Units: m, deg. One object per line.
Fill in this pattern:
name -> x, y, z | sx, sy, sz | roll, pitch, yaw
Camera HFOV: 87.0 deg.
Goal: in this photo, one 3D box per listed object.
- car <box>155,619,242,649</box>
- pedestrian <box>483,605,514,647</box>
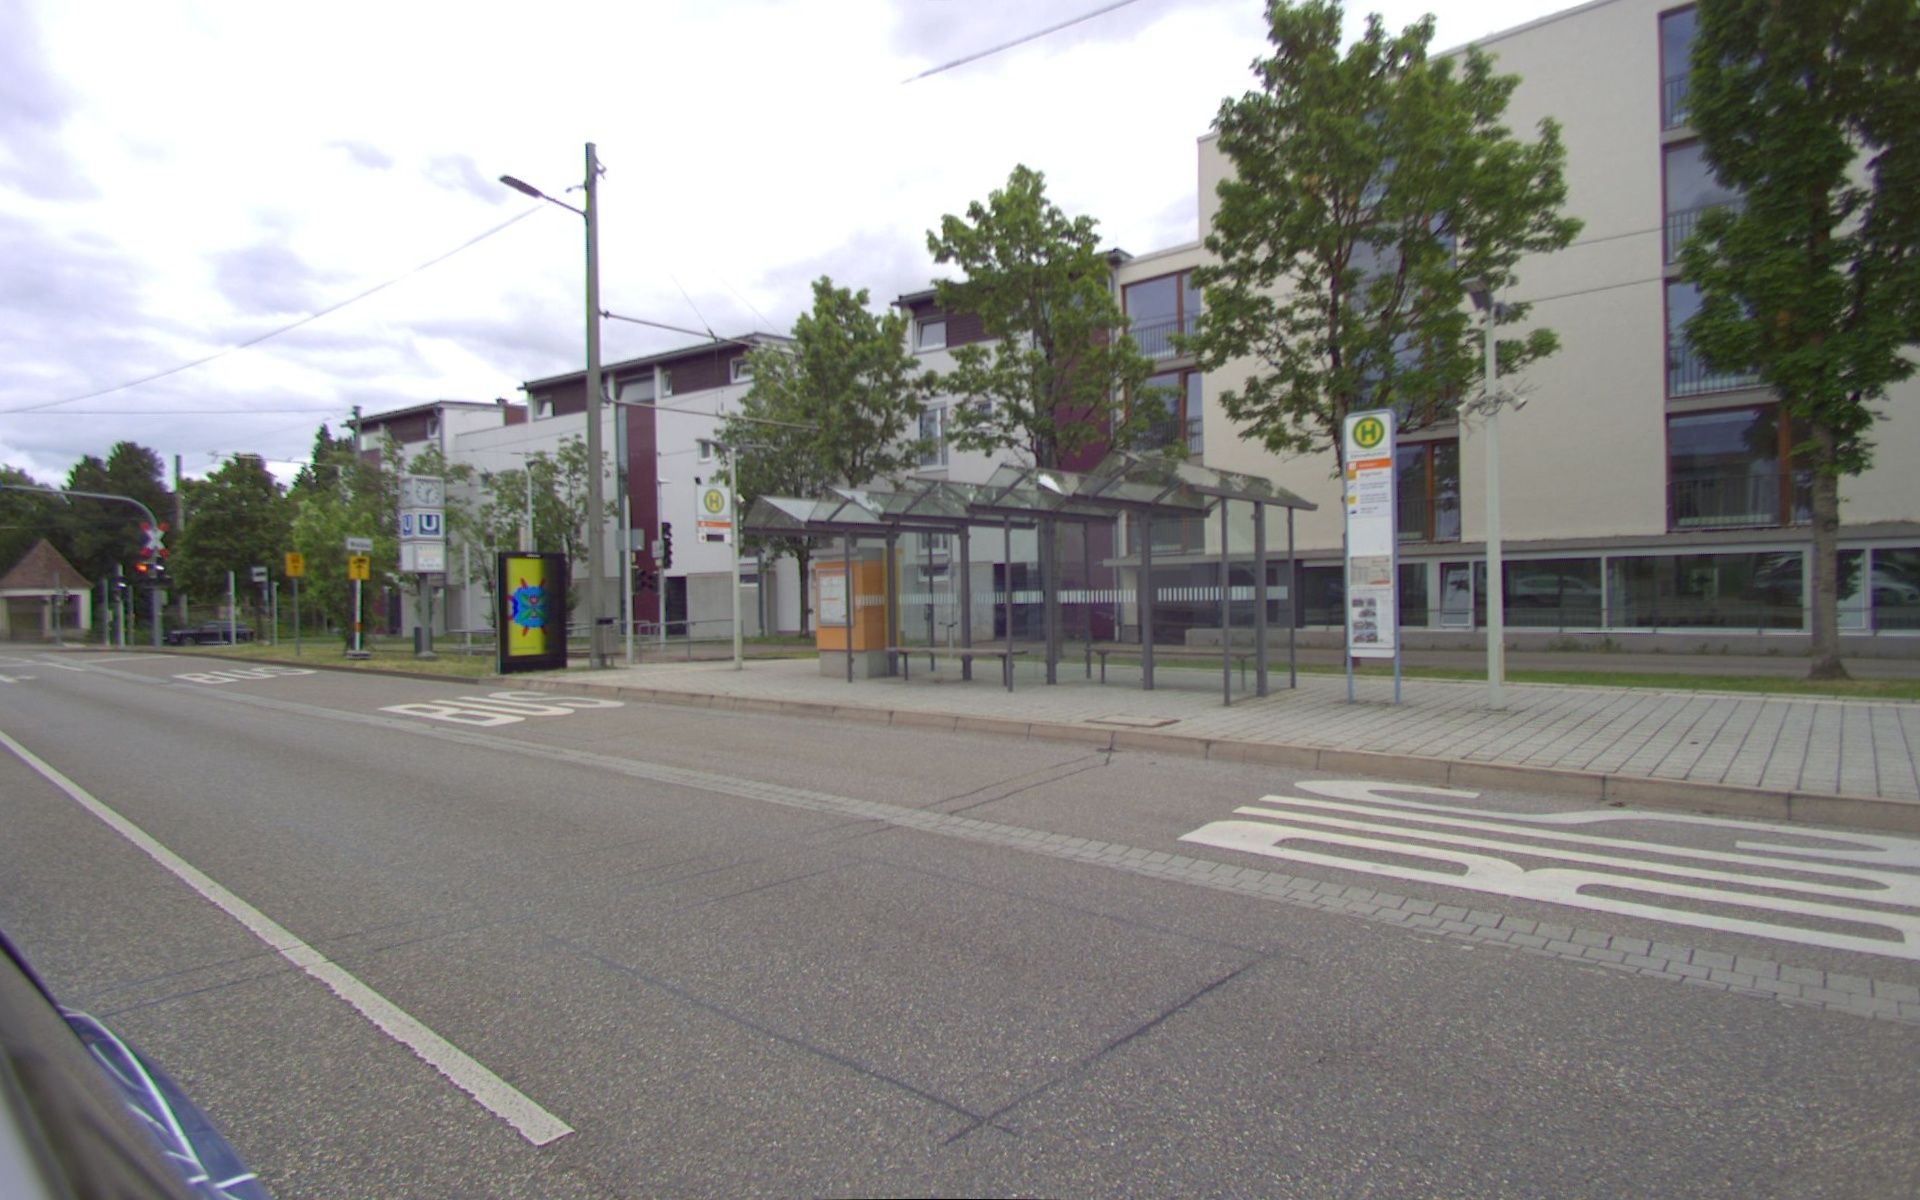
car -> -47.405, 2.076, 63.064 | 1.926, 1.719, 3.949 | -1, 0, 38
pedestrian -> -18.023, 1.002, 39.504 | 0.778, 1.607, 0.773 | -1, 0, 32
